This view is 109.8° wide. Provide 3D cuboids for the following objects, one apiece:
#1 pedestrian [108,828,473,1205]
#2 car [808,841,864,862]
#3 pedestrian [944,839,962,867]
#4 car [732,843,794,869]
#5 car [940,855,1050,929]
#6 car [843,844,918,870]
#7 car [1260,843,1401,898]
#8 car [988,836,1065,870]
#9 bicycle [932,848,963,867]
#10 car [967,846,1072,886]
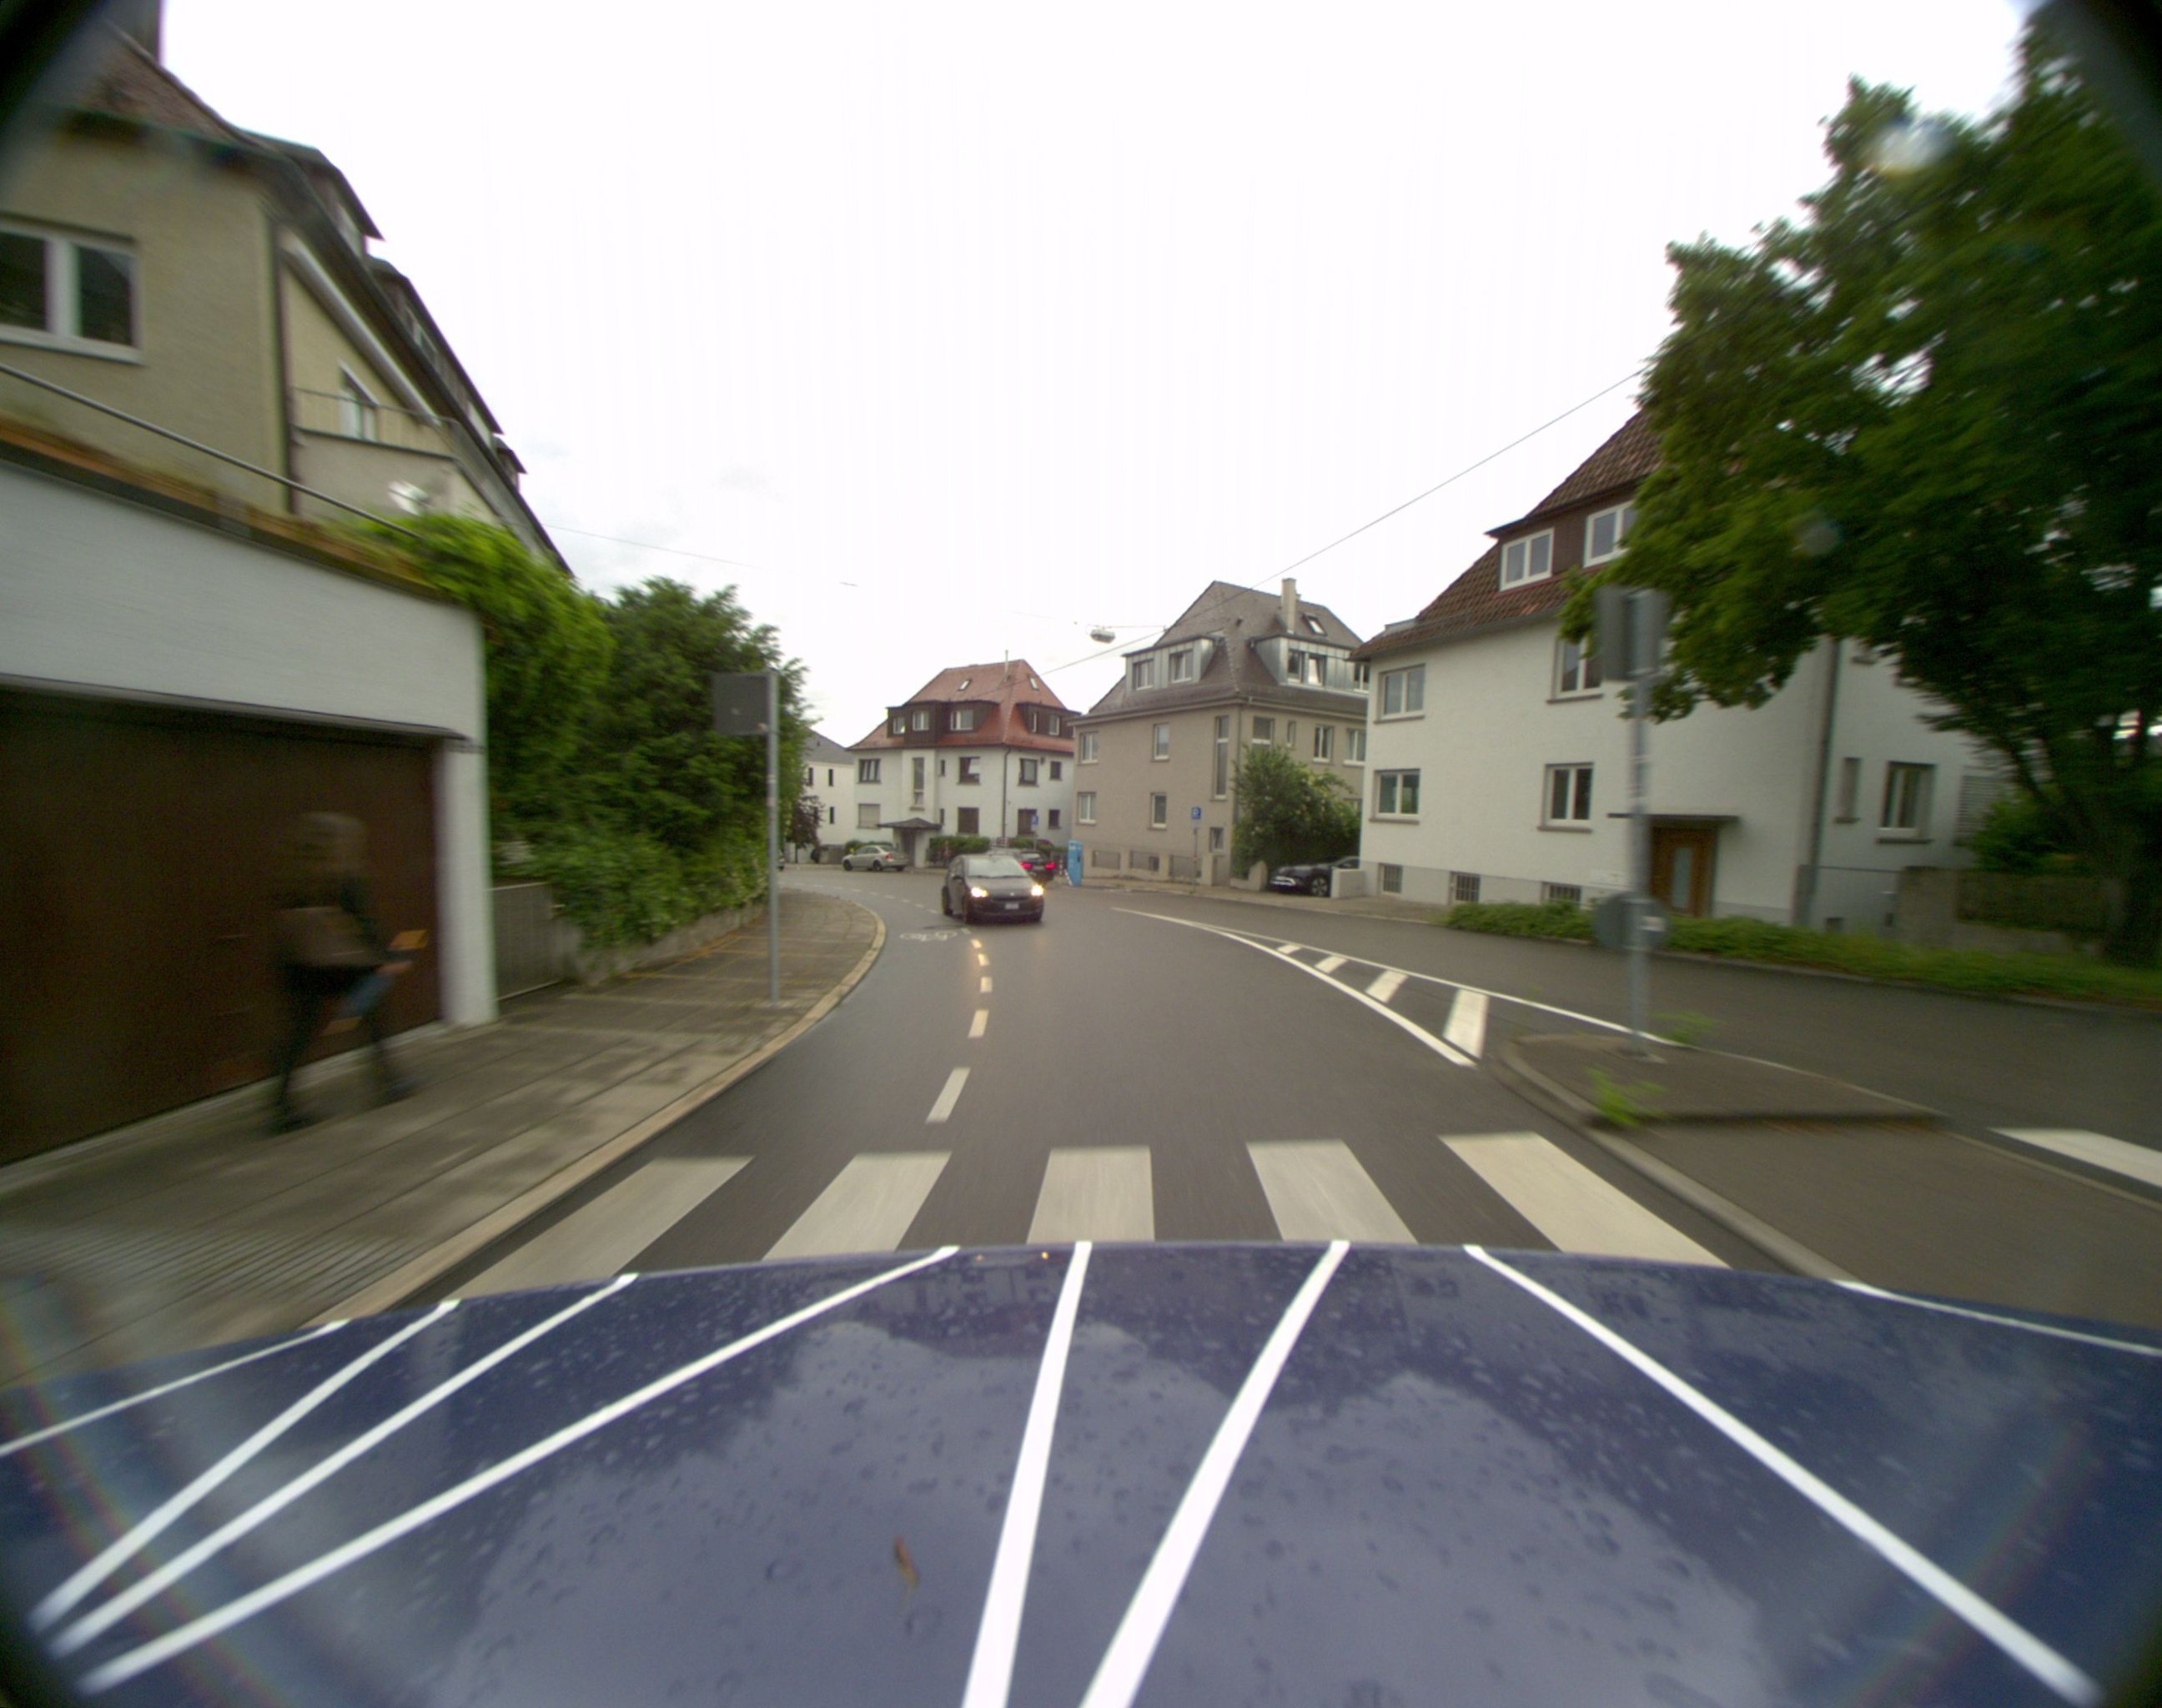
[{"bbox_3d":[-4.074,0.741,4.029,0.805,1.712,1.060,2,2,2],"label":"pedestrian"},{"bbox_3d":[-18.639,-0.193,57.968,1.738,1.344,4.008,3,-1,24],"label":"car"},{"bbox_3d":[-7.536,-0.054,44.744,0.492,1.569,0.949,0,4,31],"label":"pedestrian"},{"bbox_3d":[-18.373,0.121,43.865,3.846,1.415,1.494,0,3,37],"label":"car"},{"bbox_3d":[-2.049,0.763,17.165,1.683,1.405,3.631,-2,1,-19],"label":"car"},{"bbox_3d":[-11.513,0.150,43.542,4.217,1.417,1.845,1,2,35],"label":"car"},{"bbox_3d":[8.445,0.503,25.737,4.258,1.615,1.996,-2,3,-22],"label":"car"},{"bbox_3d":[-3.031,-0.031,42.922,1.994,1.812,4.009,1,-1,42],"label":"car"},{"bbox_3d":[-7.757,0.195,44.093,1.916,1.061,0.458,0,4,32],"label":"bicycle"},{"bbox_3d":[-2.521,0.454,30.031,1.880,1.482,4.624,1,-1,-37],"label":"car"}]
